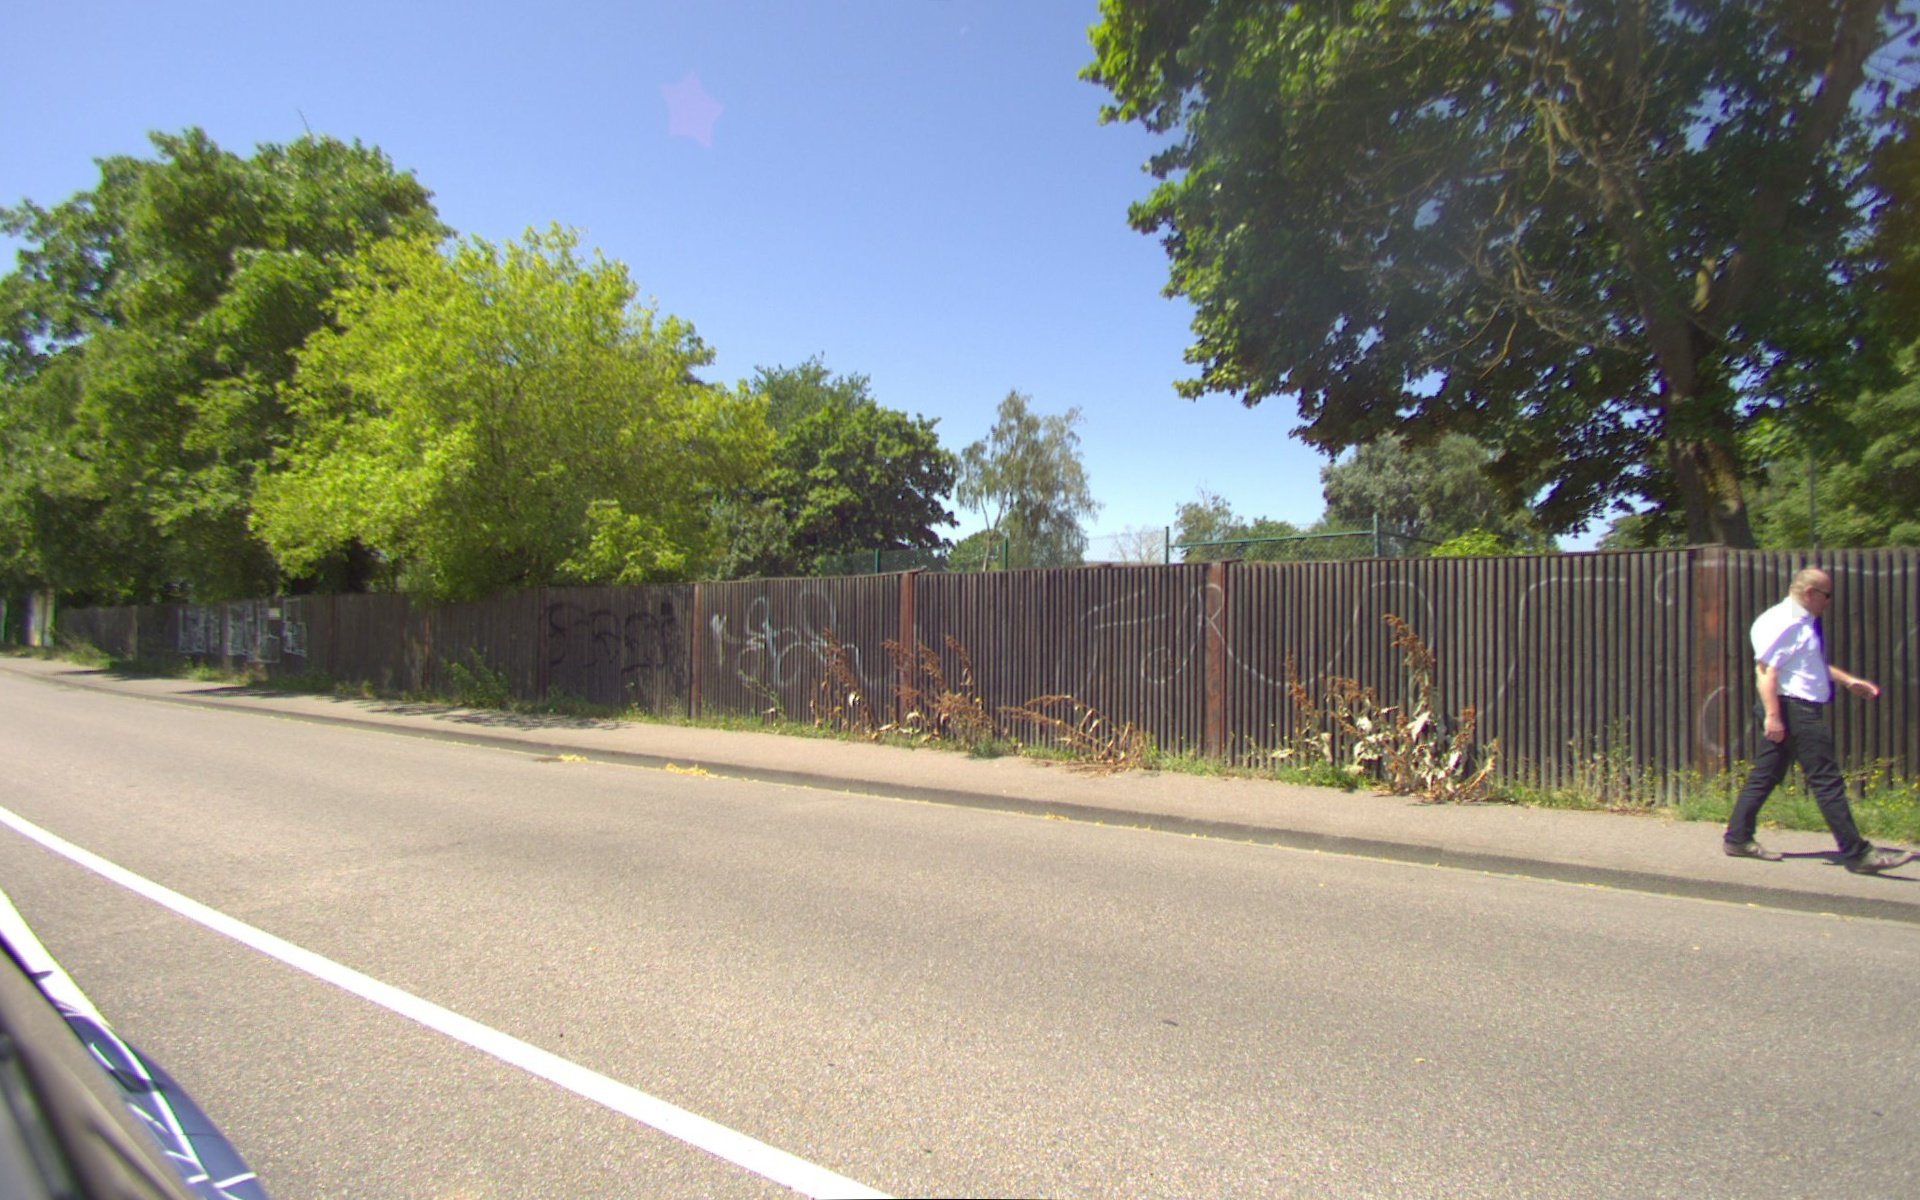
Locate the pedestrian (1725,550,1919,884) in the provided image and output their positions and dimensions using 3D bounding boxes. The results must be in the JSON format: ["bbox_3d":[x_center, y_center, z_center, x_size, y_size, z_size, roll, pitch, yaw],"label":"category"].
[{"bbox_3d":[5.167,0.650,6.074,0.850,1.838,0.586,-1,-1,41],"label":"pedestrian"}]
